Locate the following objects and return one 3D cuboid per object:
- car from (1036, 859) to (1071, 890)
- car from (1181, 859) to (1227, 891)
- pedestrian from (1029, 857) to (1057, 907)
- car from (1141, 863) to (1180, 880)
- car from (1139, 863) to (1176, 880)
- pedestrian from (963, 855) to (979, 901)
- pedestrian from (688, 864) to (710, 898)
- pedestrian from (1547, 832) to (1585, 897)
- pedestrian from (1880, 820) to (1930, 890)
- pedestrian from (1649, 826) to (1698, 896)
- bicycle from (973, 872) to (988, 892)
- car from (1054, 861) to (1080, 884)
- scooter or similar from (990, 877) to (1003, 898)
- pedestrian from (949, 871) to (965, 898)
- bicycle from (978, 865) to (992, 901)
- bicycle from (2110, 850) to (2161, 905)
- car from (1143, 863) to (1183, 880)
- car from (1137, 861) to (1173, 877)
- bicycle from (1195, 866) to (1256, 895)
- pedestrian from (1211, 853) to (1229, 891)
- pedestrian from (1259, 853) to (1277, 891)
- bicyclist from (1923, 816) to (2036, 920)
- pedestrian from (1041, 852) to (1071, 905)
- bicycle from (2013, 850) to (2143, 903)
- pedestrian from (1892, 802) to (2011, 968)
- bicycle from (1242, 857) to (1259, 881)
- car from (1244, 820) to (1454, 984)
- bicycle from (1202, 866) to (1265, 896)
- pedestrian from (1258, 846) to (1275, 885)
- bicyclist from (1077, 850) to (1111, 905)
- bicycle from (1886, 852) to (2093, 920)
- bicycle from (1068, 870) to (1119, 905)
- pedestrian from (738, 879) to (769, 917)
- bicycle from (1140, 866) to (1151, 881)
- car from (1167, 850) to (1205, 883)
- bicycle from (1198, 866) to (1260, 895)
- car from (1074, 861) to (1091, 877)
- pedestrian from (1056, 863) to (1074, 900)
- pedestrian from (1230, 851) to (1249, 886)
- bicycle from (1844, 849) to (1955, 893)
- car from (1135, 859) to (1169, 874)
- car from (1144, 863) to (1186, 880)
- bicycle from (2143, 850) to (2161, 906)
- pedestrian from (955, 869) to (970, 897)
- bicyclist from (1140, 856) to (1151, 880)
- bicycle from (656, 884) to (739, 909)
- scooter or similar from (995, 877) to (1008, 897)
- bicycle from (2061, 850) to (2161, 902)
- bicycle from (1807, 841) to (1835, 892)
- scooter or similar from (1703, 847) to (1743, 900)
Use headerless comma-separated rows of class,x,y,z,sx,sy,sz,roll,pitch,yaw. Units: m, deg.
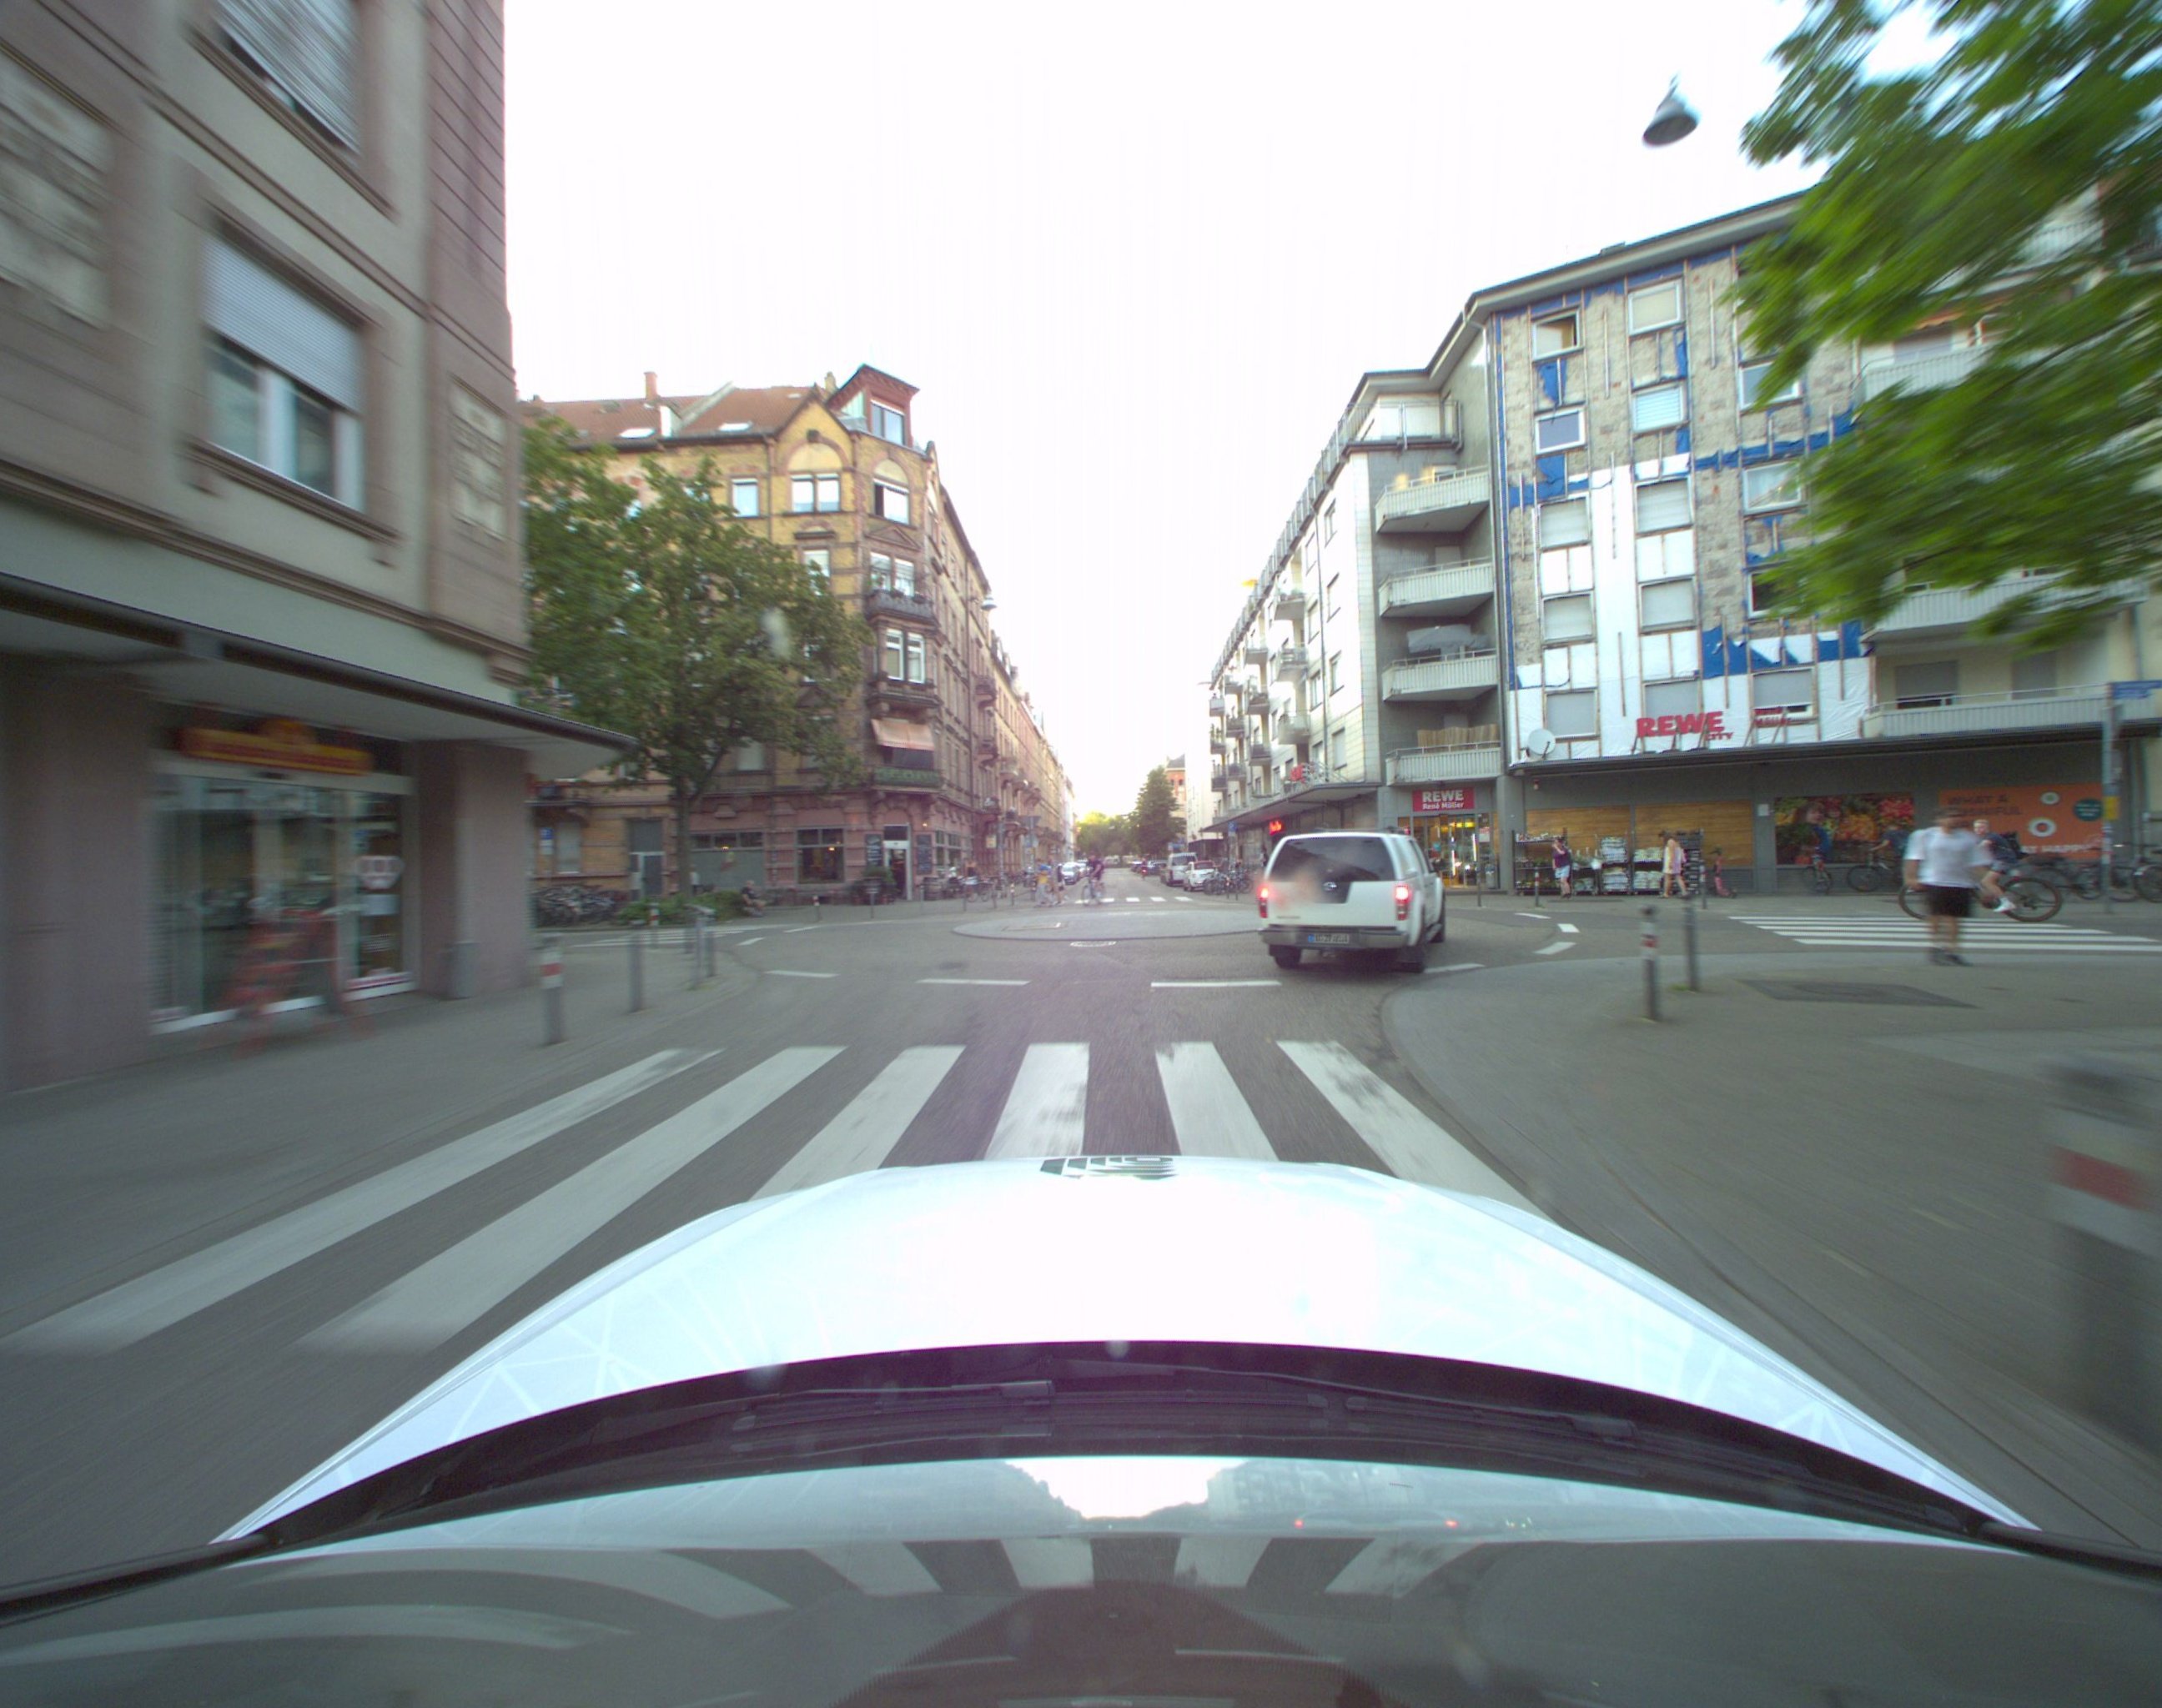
car,-1.596,1.222,48.041,1.828,1.750,4.001,0,-1,1
car,6.201,1.071,41.526,1.828,1.542,4.001,0,-1,1
pedestrian,-1.322,0.964,28.272,0.903,1.736,0.614,0,-2,-10
car,8.416,1.854,86.507,3.973,1.750,1.841,0,-1,1
car,8.369,1.915,89.422,3.973,1.750,1.841,0,-1,1
pedestrian,-4.491,0.964,33.208,0.505,1.840,0.569,0,-2,-21
pedestrian,-14.459,1.030,30.852,0.451,1.262,0.578,-1,-2,27
pedestrian,12.634,0.277,21.210,0.709,1.652,0.718,-1,-2,41
pedestrian,19.513,0.033,19.296,0.658,1.601,0.722,-1,-2,32
pedestrian,14.754,0.180,20.304,0.716,1.726,0.667,0,-1,6
bicycle,-5.449,1.515,44.235,0.385,1.036,2.484,0,-1,3
car,-1.033,1.408,62.092,1.828,1.750,4.163,0,-1,1
scooter or similar,-3.872,1.503,37.161,0.234,0.929,1.256,0,-1,-23
pedestrian,-5.490,1.352,36.023,0.647,1.191,0.539,0,-1,-2
bicycle,-3.945,1.172,33.650,0.423,1.443,1.903,0,-1,-2
bicycle,20.894,0.444,15.538,2.002,1.027,0.378,0,-1,0
car,8.434,1.799,83.844,3.973,1.750,1.841,0,-1,1
car,8.494,1.715,93.780,3.973,1.750,1.841,0,-1,1
bicycle,6.266,1.141,35.277,2.456,1.038,0.616,-4,-1,-3
pedestrian,6.180,0.815,36.202,0.717,1.663,0.703,0,-1,2
pedestrian,8.212,0.783,35.806,0.716,1.663,0.704,0,-1,7
bicyclist,15.228,0.236,13.834,0.987,1.689,0.794,-2,0,15
pedestrian,-0.890,0.867,29.273,0.909,1.885,0.610,1,-2,-29
bicycle,19.616,0.445,16.050,1.643,1.027,0.379,-1,-2,19
pedestrian,9.916,0.343,9.314,0.954,1.770,0.857,1,-2,-44
bicycle,10.026,0.905,48.279,0.554,1.408,2.095,0,-1,0
car,4.052,0.500,11.613,1.919,1.810,5.032,-1,0,29
bicycle,6.353,1.120,33.924,2.455,1.038,0.616,-4,-1,-3
pedestrian,9.287,0.573,40.852,0.717,1.907,0.703,0,-1,2
bicyclist,0.440,0.812,28.448,0.830,1.876,0.884,-1,-2,34
bicycle,15.328,0.539,13.812,2.261,1.073,0.794,-2,0,15
bicycle,0.463,1.164,28.449,0.830,1.171,1.948,-1,-2,34
pedestrian,-10.996,1.471,27.372,0.751,1.262,0.668,0,-1,1
bicycle,5.244,1.600,66.460,0.835,1.171,1.936,0,-1,2
car,6.427,0.795,50.315,1.935,1.934,4.001,0,-1,1
bicycle,6.278,1.127,34.607,2.456,1.038,0.616,-4,-1,-3
car,0.196,1.740,93.375,1.828,1.750,4.001,0,-1,1
pedestrian,-0.730,1.241,36.749,0.795,1.621,0.944,0,-1,0
pedestrian,7.538,0.687,38.763,0.718,1.663,0.702,0,-1,-3
bicycle,19.854,0.414,19.799,1.859,1.027,0.380,-1,-2,26
car,8.390,1.503,96.575,3.973,1.750,1.841,0,-1,1
car,8.400,1.752,81.606,3.973,1.750,1.841,0,-1,1
bicycle,20.915,0.433,15.014,2.002,1.027,0.491,0,-1,0
pedestrian,-5.413,1.329,37.209,0.647,1.286,0.539,0,-1,-2
bicyclist,5.234,1.166,66.487,0.835,1.944,0.785,0,-1,2
bicycle,-14.905,1.655,31.682,2.886,0.958,0.625,0,-1,1
scooter or similar,-3.631,1.504,37.269,0.234,0.929,1.256,0,-1,-23
bicycle,20.906,0.432,16.338,2.002,1.027,0.378,0,-1,0
bicycle,18.092,0.316,19.897,1.819,1.203,0.344,1,-2,-43
scooter or similar,15.892,0.456,20.174,0.318,1.266,1.295,-1,1,17
